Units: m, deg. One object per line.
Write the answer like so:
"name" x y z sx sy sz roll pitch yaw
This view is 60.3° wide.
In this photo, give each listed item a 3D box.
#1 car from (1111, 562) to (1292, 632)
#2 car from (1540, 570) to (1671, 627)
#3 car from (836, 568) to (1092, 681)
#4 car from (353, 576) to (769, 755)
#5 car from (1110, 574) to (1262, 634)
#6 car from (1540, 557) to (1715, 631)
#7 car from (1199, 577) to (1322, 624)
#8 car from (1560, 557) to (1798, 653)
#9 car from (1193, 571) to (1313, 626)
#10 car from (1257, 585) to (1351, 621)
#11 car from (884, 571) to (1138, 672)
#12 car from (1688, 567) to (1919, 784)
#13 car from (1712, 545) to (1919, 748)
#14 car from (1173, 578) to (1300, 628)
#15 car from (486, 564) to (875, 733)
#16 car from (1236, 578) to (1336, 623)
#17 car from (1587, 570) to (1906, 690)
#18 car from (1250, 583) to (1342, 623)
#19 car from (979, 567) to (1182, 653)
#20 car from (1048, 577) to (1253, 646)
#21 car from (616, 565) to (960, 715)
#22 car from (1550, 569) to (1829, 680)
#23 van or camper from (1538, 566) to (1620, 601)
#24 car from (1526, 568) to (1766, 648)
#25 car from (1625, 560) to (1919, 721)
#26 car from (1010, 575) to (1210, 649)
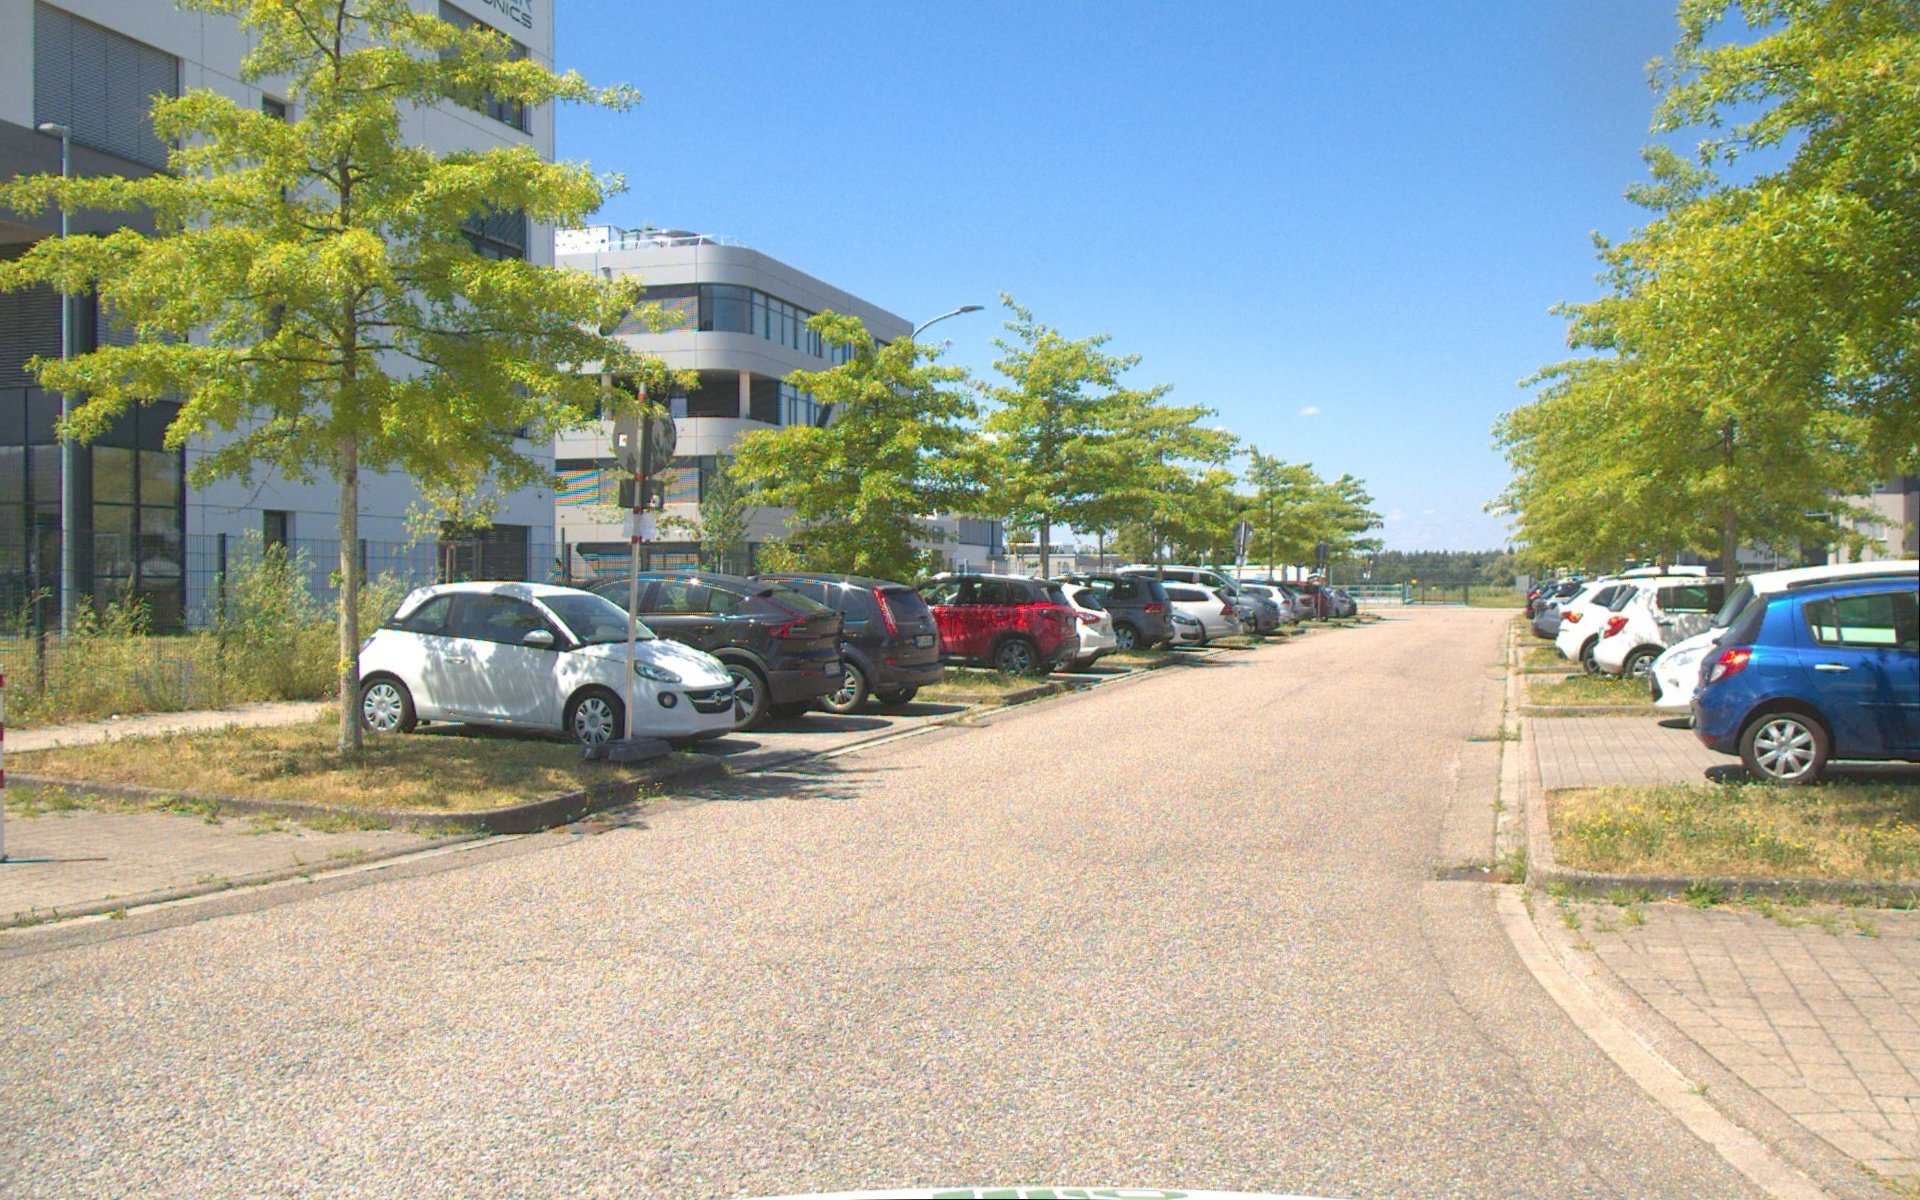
"car" 7.147 -0.108 48.954 4.965 1.924 1.997 1 1 20
"car" 20.823 -0.033 53.501 3.794 1.707 1.783 -2 0 19
"car" 0.085 0.351 26.607 3.758 1.619 1.729 2 1 16
"car" -3.763 0.552 15.732 3.431 1.466 1.728 2 1 18
"car" 6.320 0.088 46.136 3.886 1.509 1.764 2 1 19
"car" 18.206 -0.148 45.323 4.311 1.862 1.796 -2 -1 20
"car" 10.797 -0.009 59.398 4.106 1.506 1.713 2 1 19
"car" 13.541 0.097 31.394 3.962 1.653 1.694 -2 0 19
"car" 10.086 -0.065 56.833 3.902 1.707 1.779 2 1 14
"car" 15.496 0.125 74.405 3.989 1.449 1.875 2 1 15
"car" 0.908 0.334 29.181 4.086 1.539 1.808 2 2 20
"car" 7.639 0.500 12.359 3.914 1.516 1.727 -3 0 23
"car" 8.840 0.339 14.446 4.027 1.679 1.773 -3 0 24
"car" 9.136 0.082 54.608 3.952 1.486 1.605 2 1 16
"car" -3.025 0.468 18.146 3.757 1.621 1.831 2 1 15
"car" 12.895 -0.004 65.405 3.660 1.649 1.817 2 1 19
"car" 10.715 0.409 22.818 3.754 1.551 1.780 -1 0 19
"car" 13.796 0.116 67.862 3.579 1.535 1.732 2 1 15
"car" 2.593 0.183 35.426 4.031 1.663 1.728 2 1 18
"car" 4.583 0.249 39.671 4.613 1.472 1.859 2 1 16
"car" -2.098 0.436 20.416 3.825 1.619 1.728 2 1 18
"car" 11.095 0.361 25.294 3.757 1.580 1.779 -1 1 24
"van or camper" 40.002 -1.075 106.997 4.832 2.201 2.001 0 0 18
"car" 15.018 0.181 36.471 4.616 1.588 1.915 -2 0 15
"car" 8.952 0.385 17.187 3.541 1.488 1.612 -3 0 14
"car" 3.400 0.243 37.396 4.220 1.499 1.729 2 1 16
